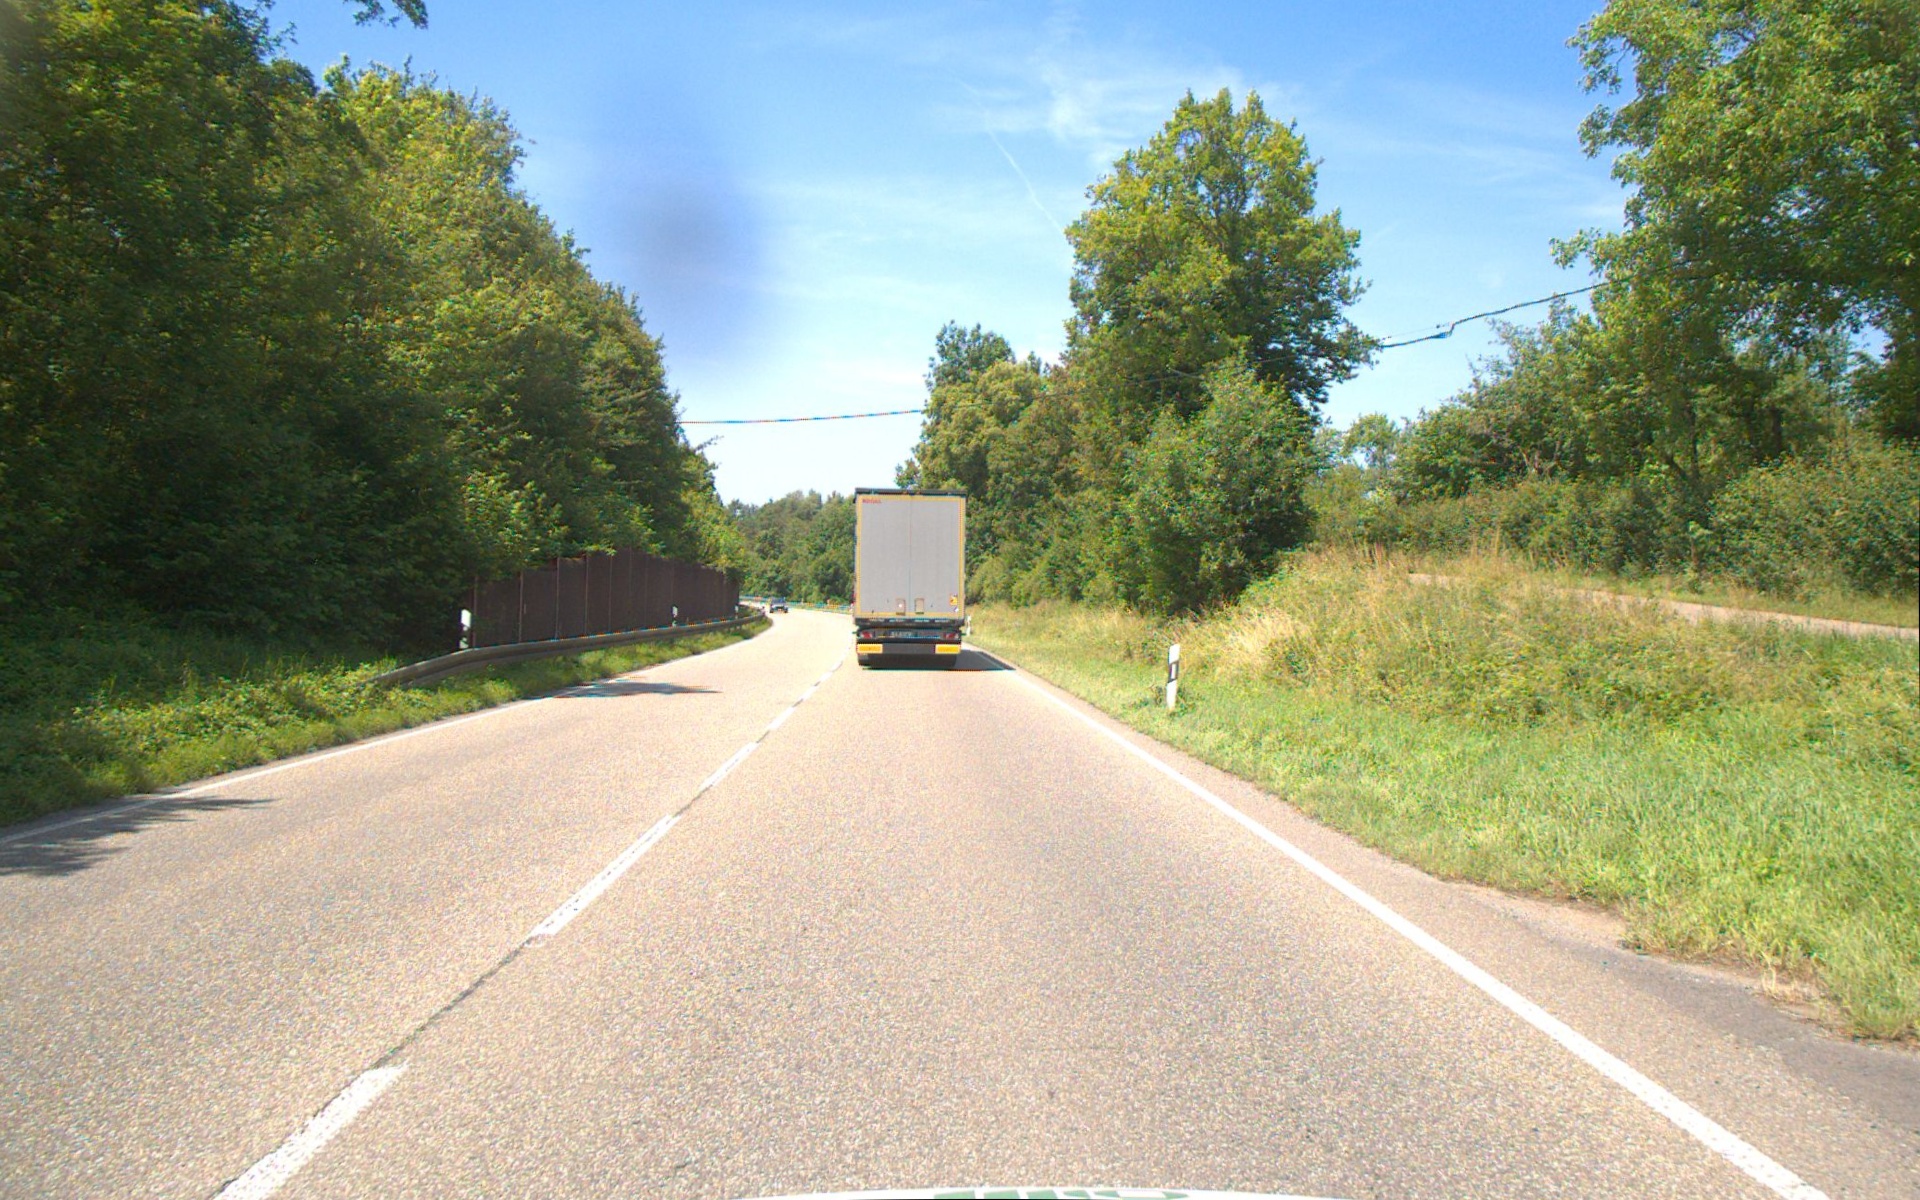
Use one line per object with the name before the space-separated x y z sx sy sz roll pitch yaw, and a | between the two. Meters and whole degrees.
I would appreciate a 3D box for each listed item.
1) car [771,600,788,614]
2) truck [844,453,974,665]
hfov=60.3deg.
car | -19.606 0.720 179.783 1.588 1.518 3.608 0 0 -10
truck | -1.113 -0.863 40.042 2.764 4.685 6.665 1 -1 1
